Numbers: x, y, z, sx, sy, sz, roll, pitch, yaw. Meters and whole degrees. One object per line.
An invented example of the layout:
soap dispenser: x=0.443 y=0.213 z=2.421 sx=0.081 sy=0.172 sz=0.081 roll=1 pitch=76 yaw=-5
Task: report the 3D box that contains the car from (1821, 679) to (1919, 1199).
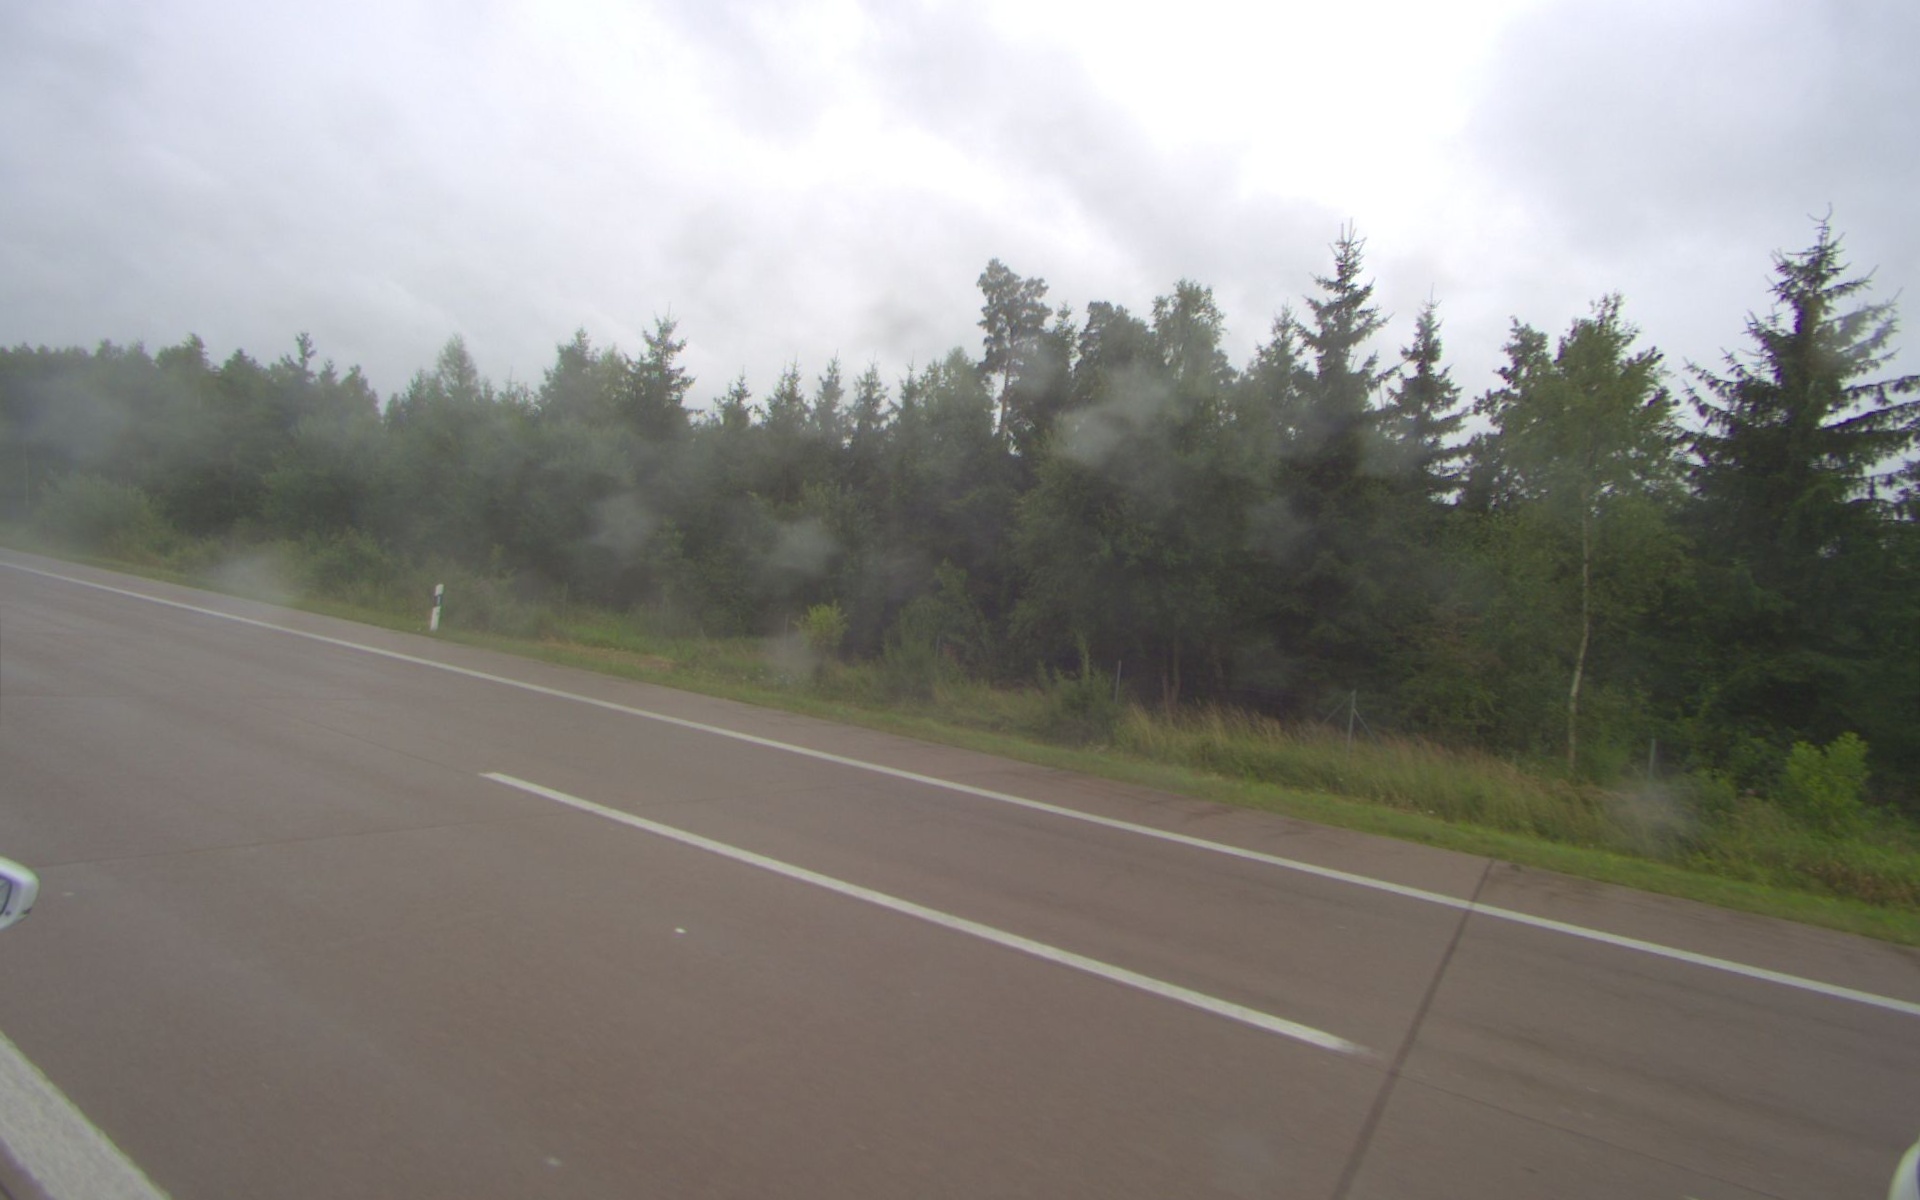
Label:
car: x=4.087 y=1.244 z=0.910 sx=4.664 sy=1.748 sz=1.812 roll=7 pitch=-2 yaw=31
